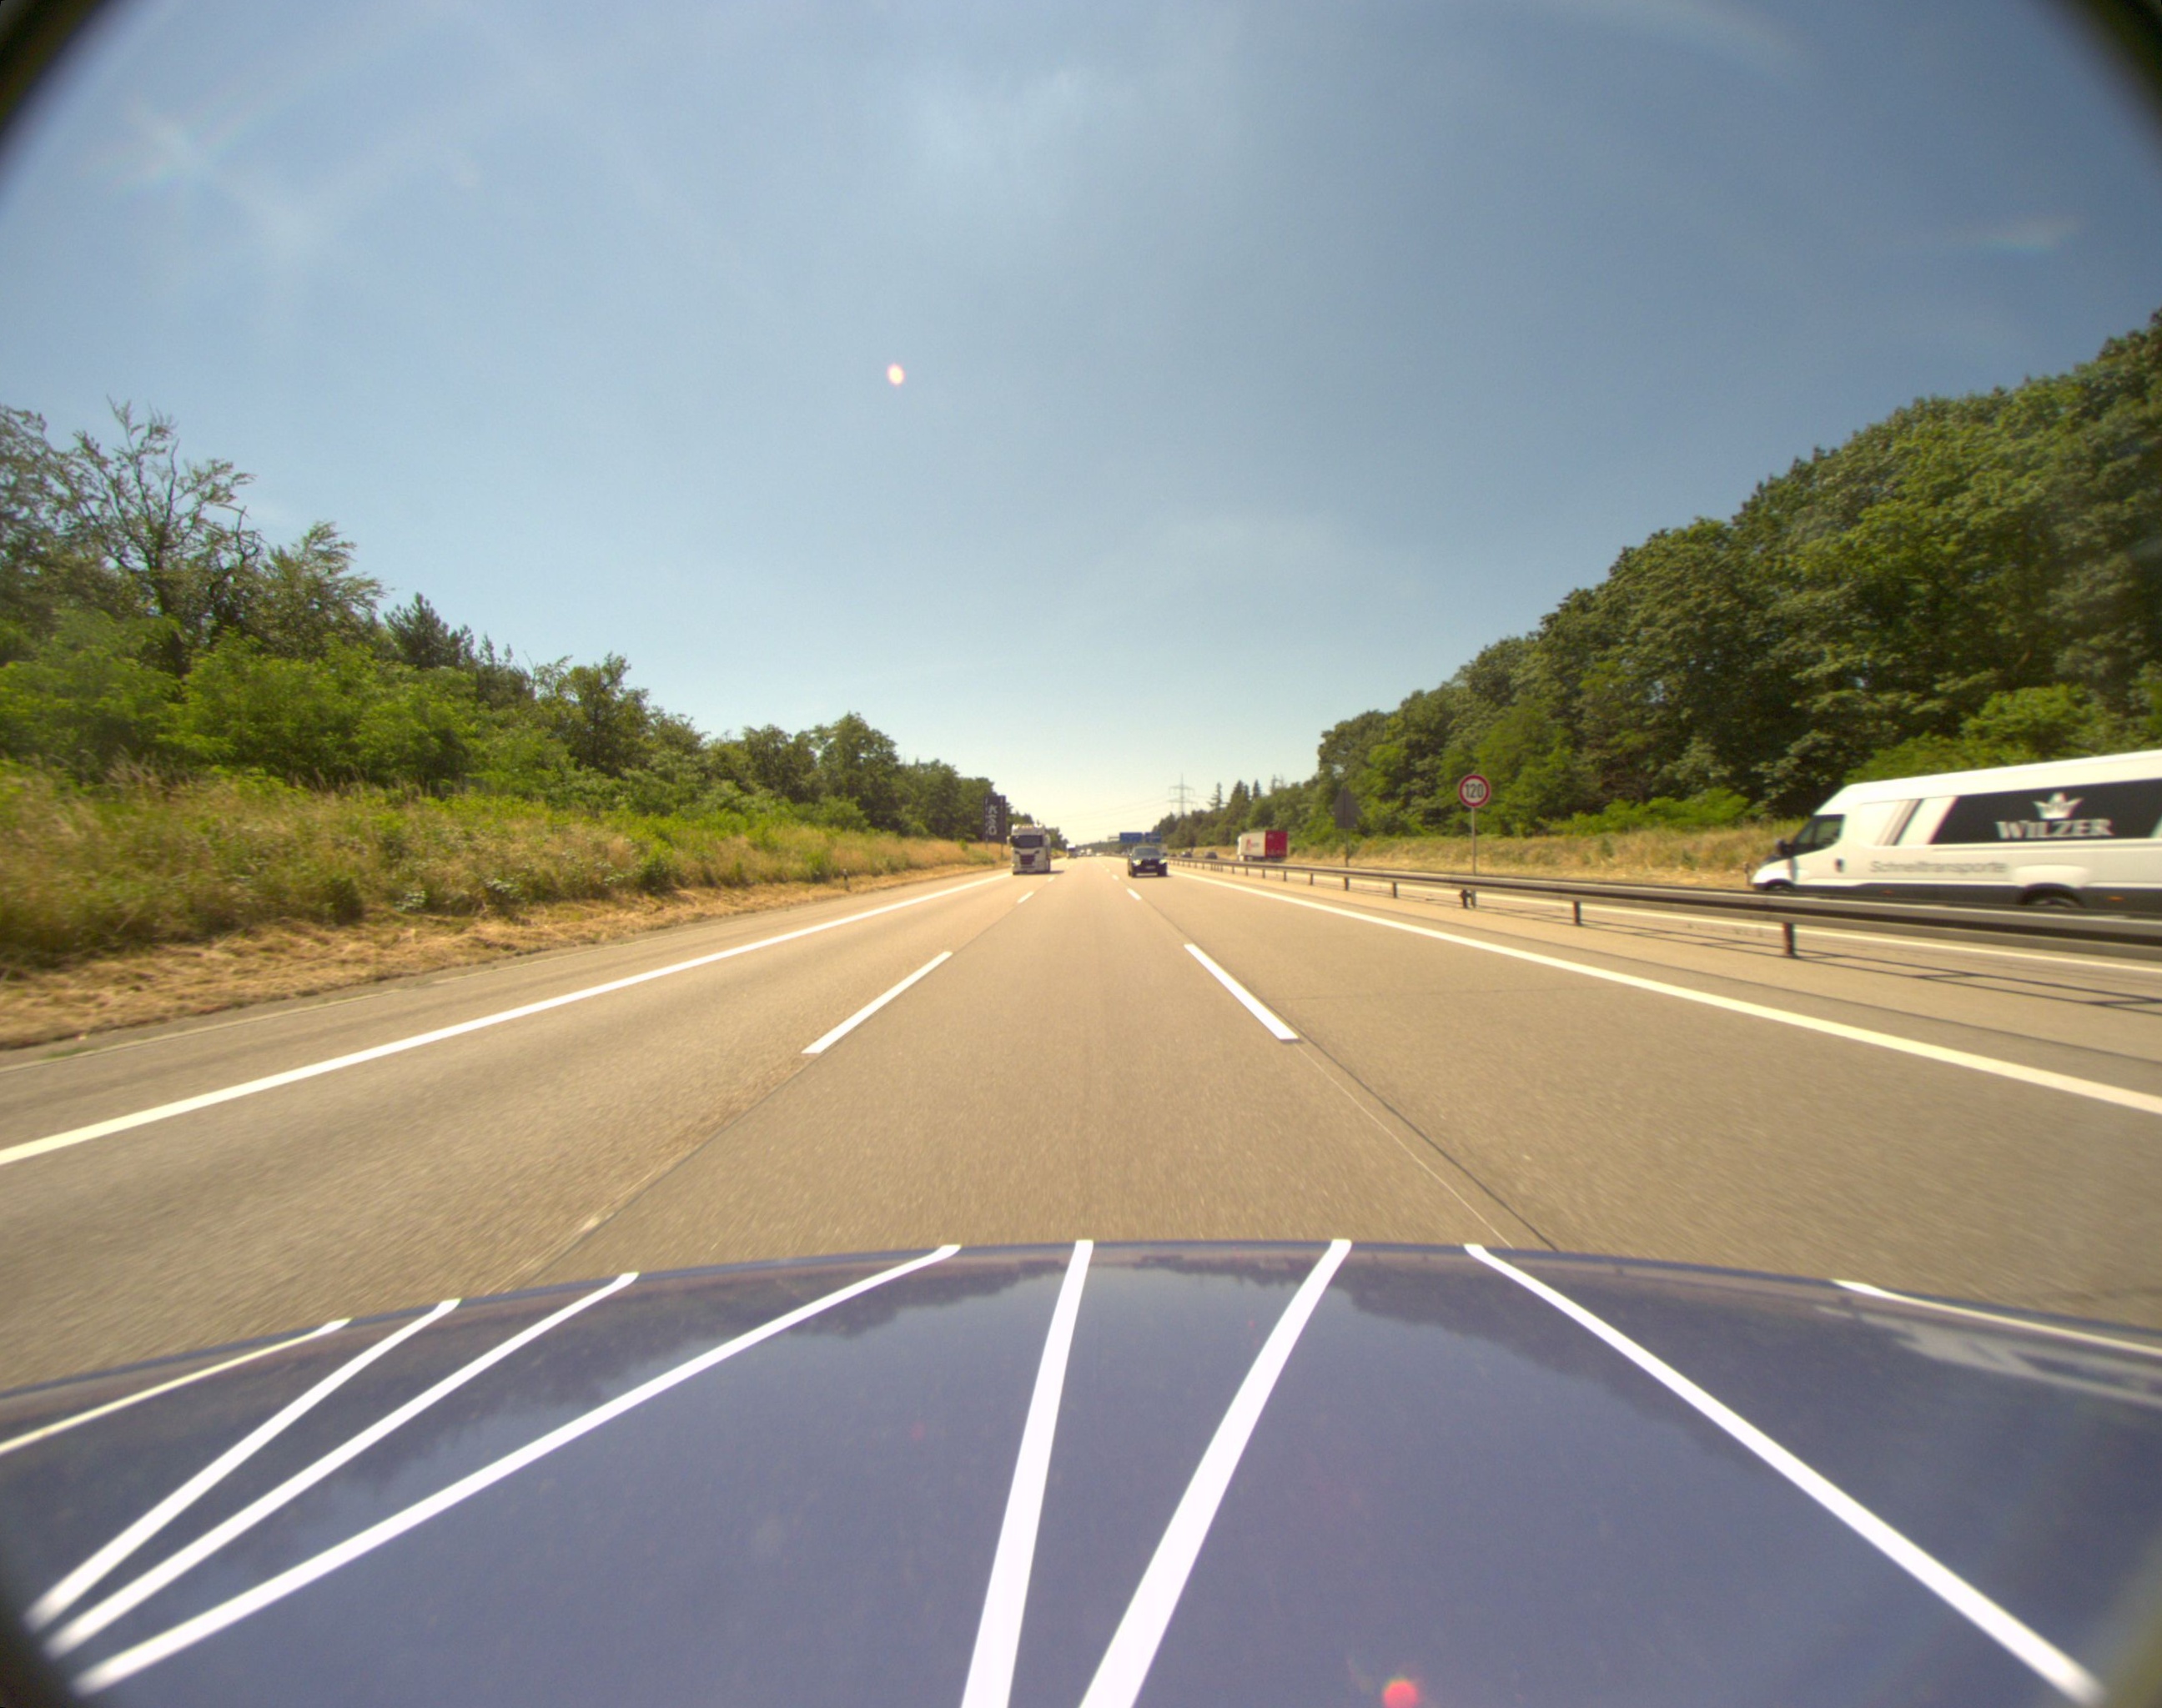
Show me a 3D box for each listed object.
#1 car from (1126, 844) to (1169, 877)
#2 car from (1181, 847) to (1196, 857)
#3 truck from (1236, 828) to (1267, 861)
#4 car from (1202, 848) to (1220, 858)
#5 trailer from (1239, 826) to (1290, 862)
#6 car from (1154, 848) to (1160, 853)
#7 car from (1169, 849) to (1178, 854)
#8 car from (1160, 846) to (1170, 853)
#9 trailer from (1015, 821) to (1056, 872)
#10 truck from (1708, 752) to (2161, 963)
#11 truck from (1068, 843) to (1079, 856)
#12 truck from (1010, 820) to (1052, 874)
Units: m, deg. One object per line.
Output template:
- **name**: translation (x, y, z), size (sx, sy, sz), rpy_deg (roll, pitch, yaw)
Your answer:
- **car**: translation (3.801, 0.330, 44.441), size (1.945, 1.742, 5.812), rpy_deg (-2, 0, 0)
- **car**: translation (19.094, -0.431, 134.874), size (1.894, 1.671, 4.721), rpy_deg (1, 1, 0)
- **truck**: translation (22.743, -1.253, 101.517), size (2.819, 4.095, 5.674), rpy_deg (1, 1, 1)
- **car**: translation (19.256, -0.111, 112.771), size (1.893, 1.426, 4.582), rpy_deg (1, 1, 1)
- **trailer**: translation (22.712, -1.206, 94.935), size (2.819, 4.095, 14.546), rpy_deg (1, 1, 0)
- **car**: translation (26.511, -1.177, 265.988), size (1.776, 1.513, 3.908), rpy_deg (1, 1, 0)
- **car**: translation (23.486, -0.627, 193.079), size (1.776, 1.408, 3.870), rpy_deg (1, 1, 0)
- **car**: translation (18.583, -1.056, 168.988), size (1.776, 1.513, 3.908), rpy_deg (1, 1, 0)
- **trailer**: translation (-3.661, -0.600, 63.485), size (2.605, 3.812, 8.698), rpy_deg (-2, 0, 1)
- **truck**: translation (14.444, 0.041, 12.254), size (2.088, 2.608, 8.030), rpy_deg (2, 1, 1)
- **truck**: translation (-2.040, -1.216, 208.984), size (2.593, 3.534, 8.648), rpy_deg (-2, 0, 1)
- **truck**: translation (-3.727, -0.557, 58.370), size (2.605, 3.812, 5.969), rpy_deg (-2, 1, 1)
